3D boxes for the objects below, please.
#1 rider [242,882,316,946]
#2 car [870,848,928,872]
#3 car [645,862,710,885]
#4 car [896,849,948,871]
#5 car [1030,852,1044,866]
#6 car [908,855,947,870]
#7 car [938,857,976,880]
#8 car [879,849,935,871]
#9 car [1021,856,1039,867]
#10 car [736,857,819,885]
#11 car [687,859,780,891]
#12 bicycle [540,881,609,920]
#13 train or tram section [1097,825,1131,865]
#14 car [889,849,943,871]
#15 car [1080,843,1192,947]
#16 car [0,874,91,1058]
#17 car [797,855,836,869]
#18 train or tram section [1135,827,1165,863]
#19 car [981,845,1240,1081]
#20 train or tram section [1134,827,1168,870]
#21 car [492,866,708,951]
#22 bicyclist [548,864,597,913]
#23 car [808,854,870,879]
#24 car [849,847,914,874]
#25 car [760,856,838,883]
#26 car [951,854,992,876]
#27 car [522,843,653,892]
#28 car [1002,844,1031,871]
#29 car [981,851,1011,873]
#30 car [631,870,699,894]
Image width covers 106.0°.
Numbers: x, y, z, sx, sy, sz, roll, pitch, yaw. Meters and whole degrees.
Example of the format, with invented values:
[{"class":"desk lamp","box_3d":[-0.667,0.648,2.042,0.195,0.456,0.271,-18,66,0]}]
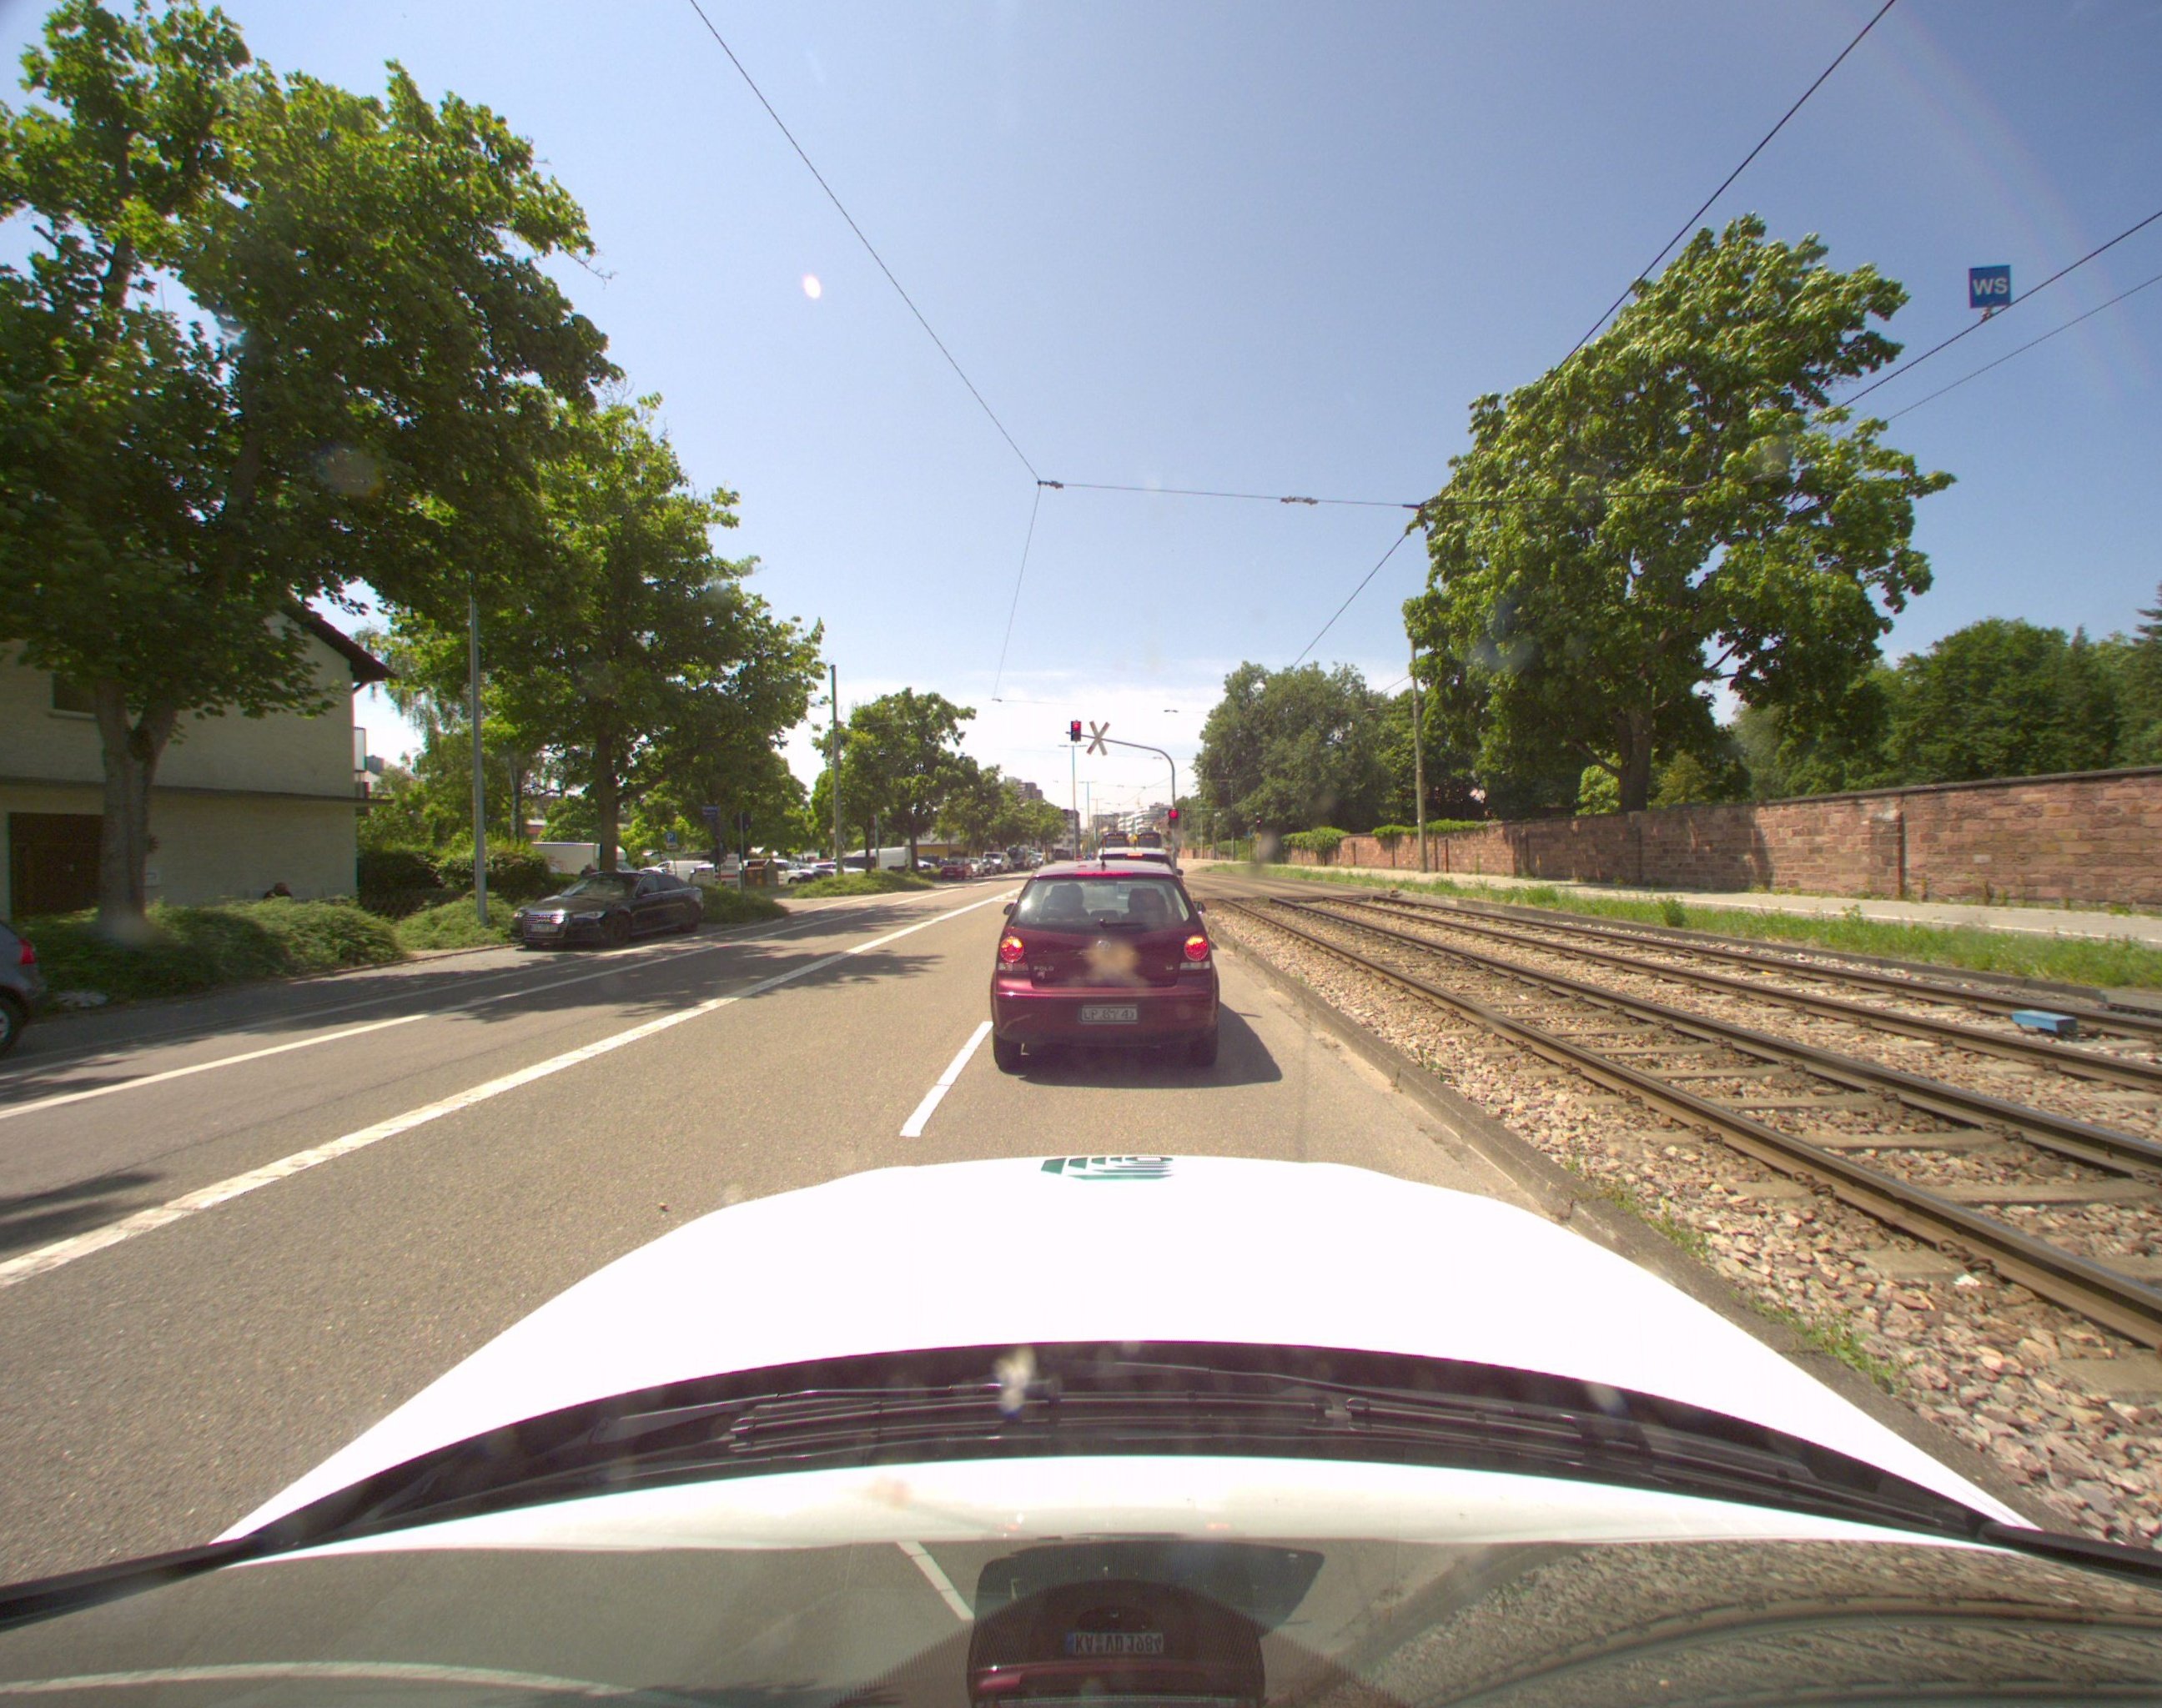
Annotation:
[{"class":"rider","box_3d":[-17.957,1.331,18.252,0.820,1.374,0.814,-2,0,10]},{"class":"car","box_3d":[-17.796,0.576,79.863,5.076,2.244,2.380,1,-1,3]},{"class":"car","box_3d":[-30.659,1.458,61.942,3.982,1.653,1.812,1,-1,-7]},{"class":"car","box_3d":[-17.185,0.673,88.231,5.076,2.244,2.380,1,-1,3]},{"class":"car","box_3d":[-5.841,0.708,108.026,1.771,1.828,3.995,1,-1,-3]},{"class":"car","box_3d":[-17.369,0.936,92.521,4.004,1.617,1.818,1,-1,3]},{"class":"car","box_3d":[-8.306,0.964,54.930,1.655,1.497,4.004,1,-1,4]},{"class":"car","box_3d":[-17.700,0.611,83.051,5.076,2.244,2.380,1,-1,3]},{"class":"car","box_3d":[-6.319,0.950,101.890,1.606,1.441,4.006,1,-1,5]},{"class":"car","box_3d":[-18.640,1.046,50.177,4.319,1.585,1.917,-2,0,7]},{"class":"car","box_3d":[-19.331,1.140,45.449,4.329,1.585,1.912,-2,0,-1]},{"class":"bicycle","box_3d":[-14.519,1.305,23.402,0.697,1.030,1.831,1,-1,5]},{"class":"train or tram section","box_3d":[3.052,-0.837,78.890,2.732,3.609,12.866,1,0,0]},{"class":"car","box_3d":[-17.307,0.642,85.514,5.076,2.244,2.380,1,-1,3]},{"class":"car","box_3d":[0.919,0.647,14.918,1.770,1.647,4.001,0,0,1]},{"class":"car","box_3d":[-10.273,0.982,5.569,1.812,1.564,4.182,0,0,1]},{"class":"car","box_3d":[-31.539,0.928,97.109,4.006,1.617,1.816,1,-1,0]},{"class":"train or tram section","box_3d":[7.869,-1.010,93.116,3.014,3.797,13.106,-2,0,4]},{"class":"car","box_3d":[0.234,0.700,7.271,1.666,1.521,4.001,0,0,1]},{"class":"train or tram section","box_3d":[6.836,-0.521,80.173,3.014,3.797,13.105,-2,0,4]},{"class":"car","box_3d":[-9.850,1.041,17.188,1.812,1.476,4.450,0,0,1]},{"class":"bicyclist","box_3d":[-14.541,0.970,23.313,0.805,1.374,0.829,1,-1,5]},{"class":"car","box_3d":[-18.155,0.947,61.276,3.973,1.746,1.998,-2,0,0]},{"class":"car","box_3d":[-17.549,0.563,71.792,5.076,2.244,2.380,1,-1,3]},{"class":"car","box_3d":[-18.390,1.033,53.242,4.319,1.585,1.917,-2,0,8]},{"class":"car","box_3d":[-8.196,0.830,61.483,1.965,1.601,4.566,0,-1,6]},{"class":"car","box_3d":[-31.420,0.857,51.992,6.828,2.965,2.364,1,-1,0]},{"class":"car","box_3d":[-6.664,0.373,84.748,2.352,2.692,5.311,1,-1,3]},{"class":"car","box_3d":[-7.421,0.710,71.711,1.774,1.881,4.792,1,-1,5]},{"class":"car","box_3d":[-30.409,2.023,59.631,3.982,1.653,1.812,1,-1,-7]}]
